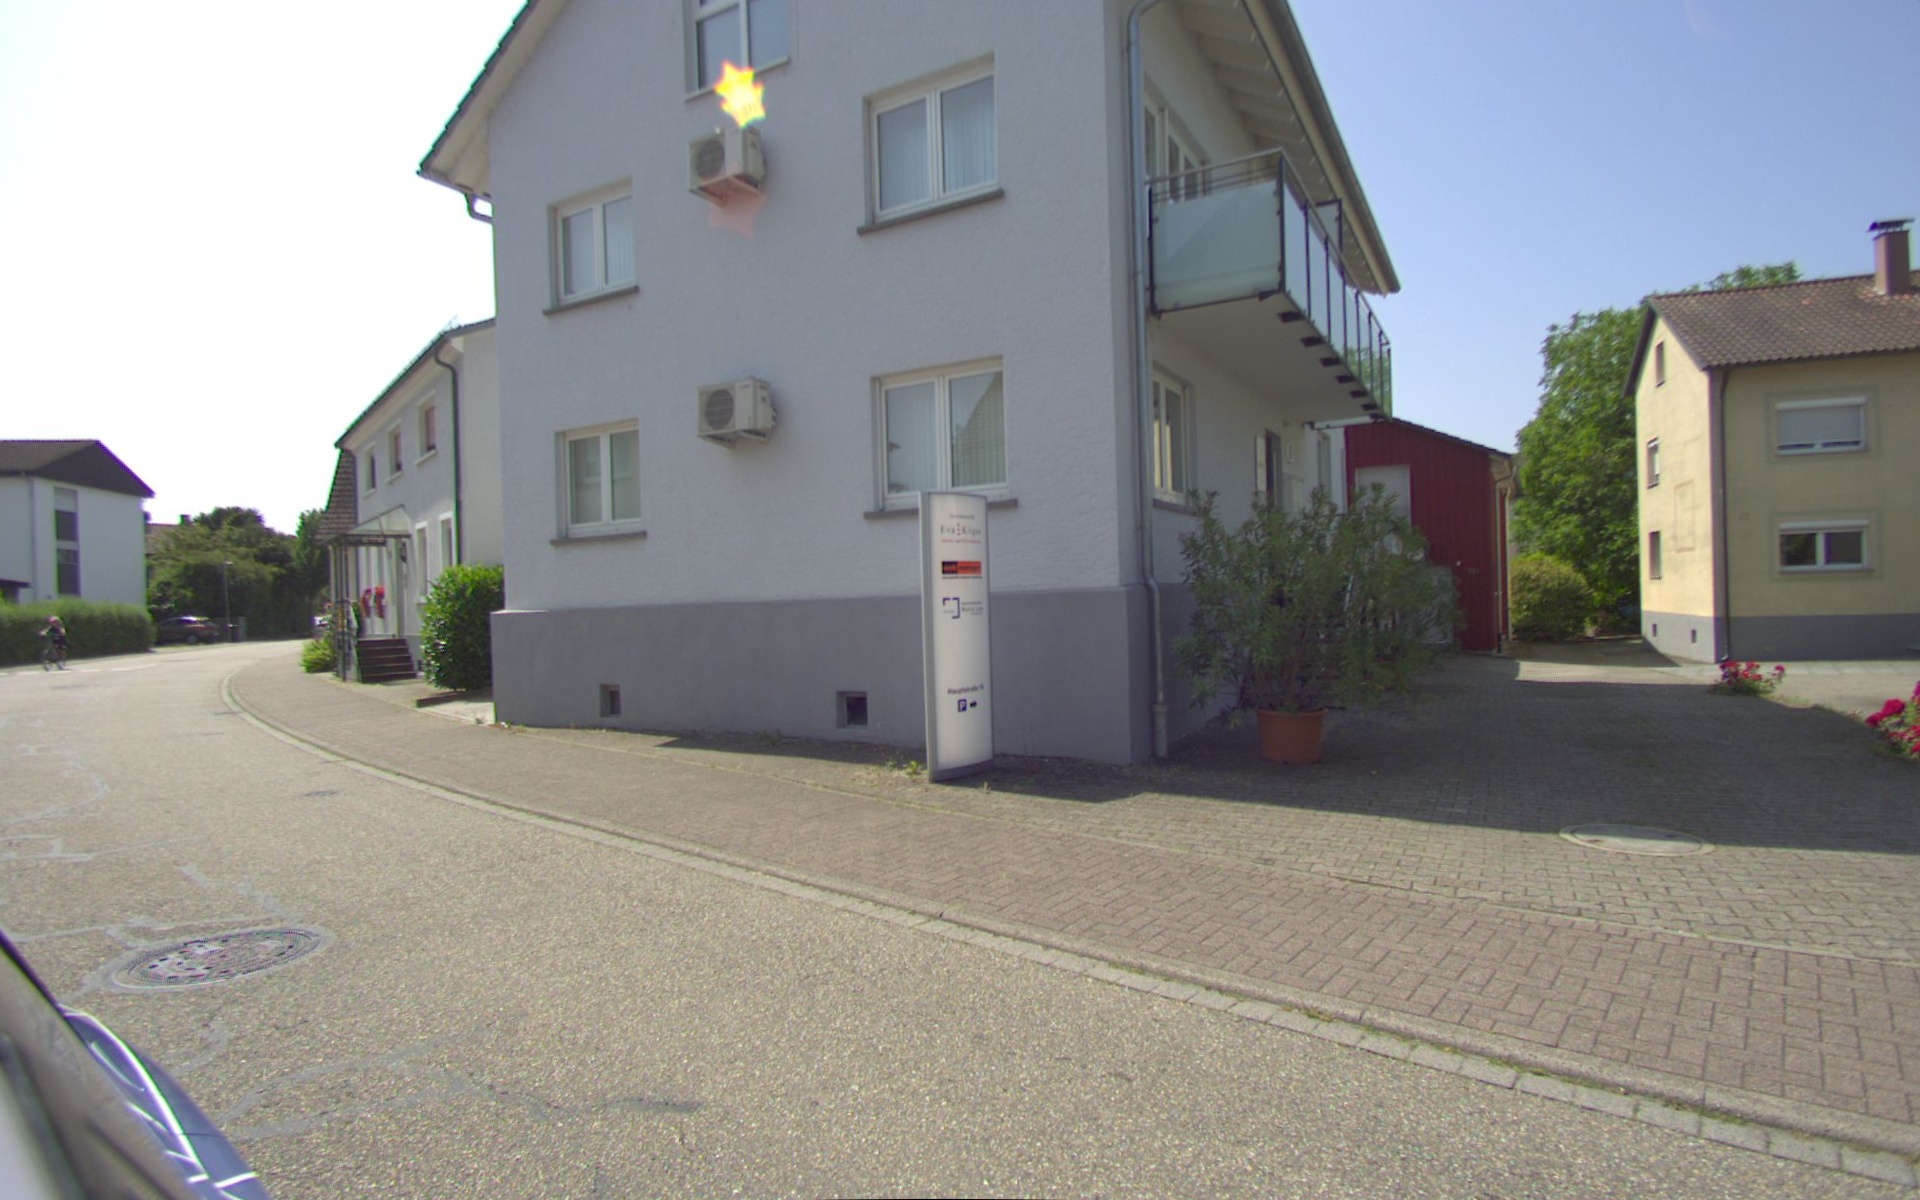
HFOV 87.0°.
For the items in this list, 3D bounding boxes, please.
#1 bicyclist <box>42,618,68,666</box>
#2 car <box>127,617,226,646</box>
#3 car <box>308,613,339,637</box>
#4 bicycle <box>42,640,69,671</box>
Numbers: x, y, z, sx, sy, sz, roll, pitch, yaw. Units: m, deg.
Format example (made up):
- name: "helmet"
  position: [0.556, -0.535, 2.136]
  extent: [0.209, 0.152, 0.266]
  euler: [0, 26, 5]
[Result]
- name: "bicyclist"
  position: [-28.926, 1.333, 32.362]
  extent: [0.538, 1.501, 0.798]
  euler: [-1, 0, -37]
- name: "car"
  position: [-46.343, 1.843, 59.975]
  extent: [4.219, 1.684, 2.072]
  euler: [0, -1, -19]
- name: "car"
  position: [-51.220, 1.989, 81.501]
  extent: [1.752, 1.855, 3.913]
  euler: [0, -1, -27]
- name: "bicycle"
  position: [-28.943, 1.762, 32.389]
  extent: [0.513, 0.911, 1.316]
  euler: [-1, 0, -37]
